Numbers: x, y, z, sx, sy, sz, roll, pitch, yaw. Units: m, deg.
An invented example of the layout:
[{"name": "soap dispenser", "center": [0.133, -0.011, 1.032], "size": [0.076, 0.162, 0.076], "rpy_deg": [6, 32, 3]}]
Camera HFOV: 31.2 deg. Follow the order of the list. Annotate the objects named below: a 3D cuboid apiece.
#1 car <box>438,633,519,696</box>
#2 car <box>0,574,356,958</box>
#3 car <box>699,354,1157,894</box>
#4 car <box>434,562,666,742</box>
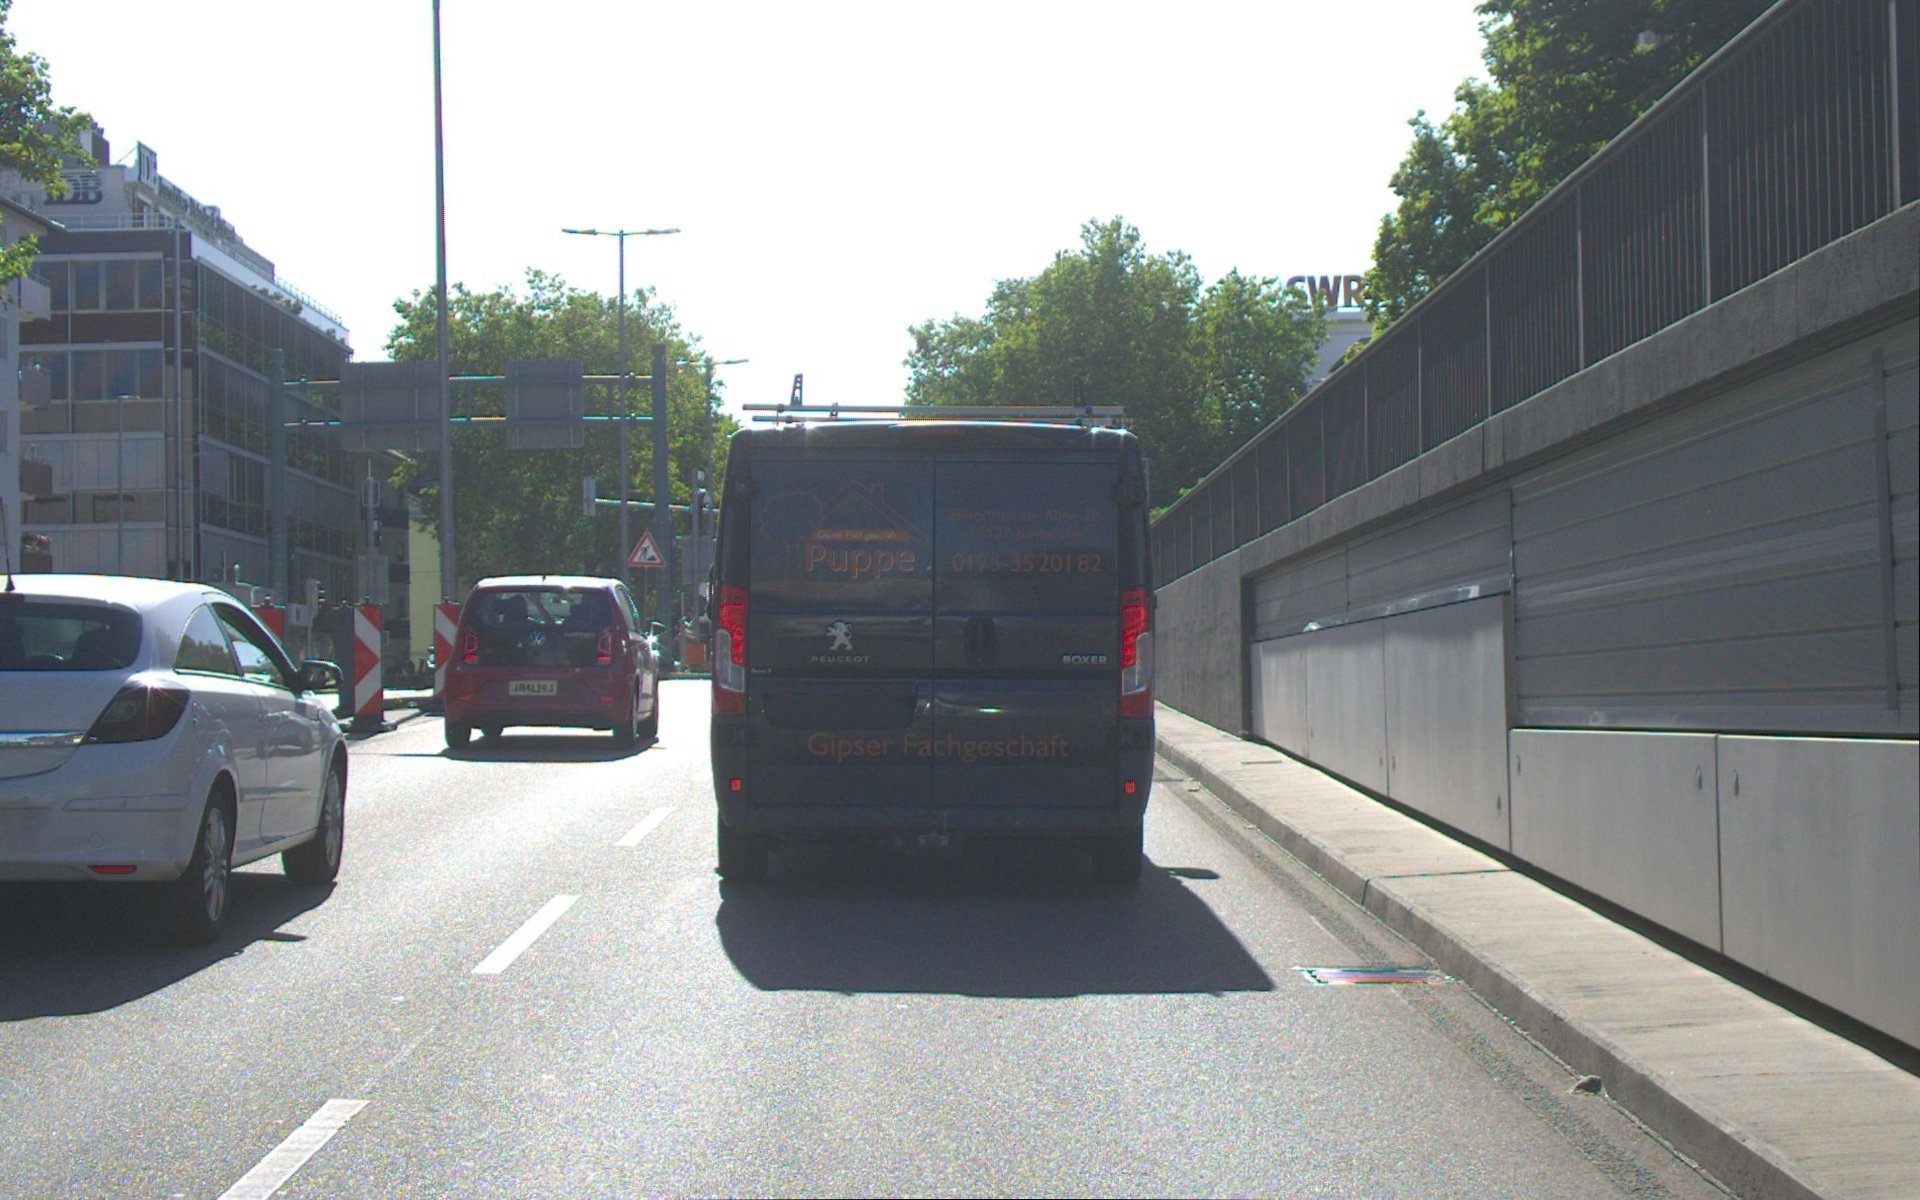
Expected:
[{"name": "car", "center": [-12.225, 1.615, 87.386], "size": [1.538, 1.460, 3.717], "rpy_deg": [-3, 0, -1]}, {"name": "car", "center": [-3.683, 0.596, 14.527], "size": [1.619, 1.398, 3.852], "rpy_deg": [1, 0, -1]}, {"name": "car", "center": [-0.162, 0.103, 17.216], "size": [2.030, 2.394, 3.973], "rpy_deg": [0, 0, -1]}, {"name": "car", "center": [-3.548, 0.429, 30.217], "size": [1.689, 1.478, 3.319], "rpy_deg": [1, 0, -1]}]
